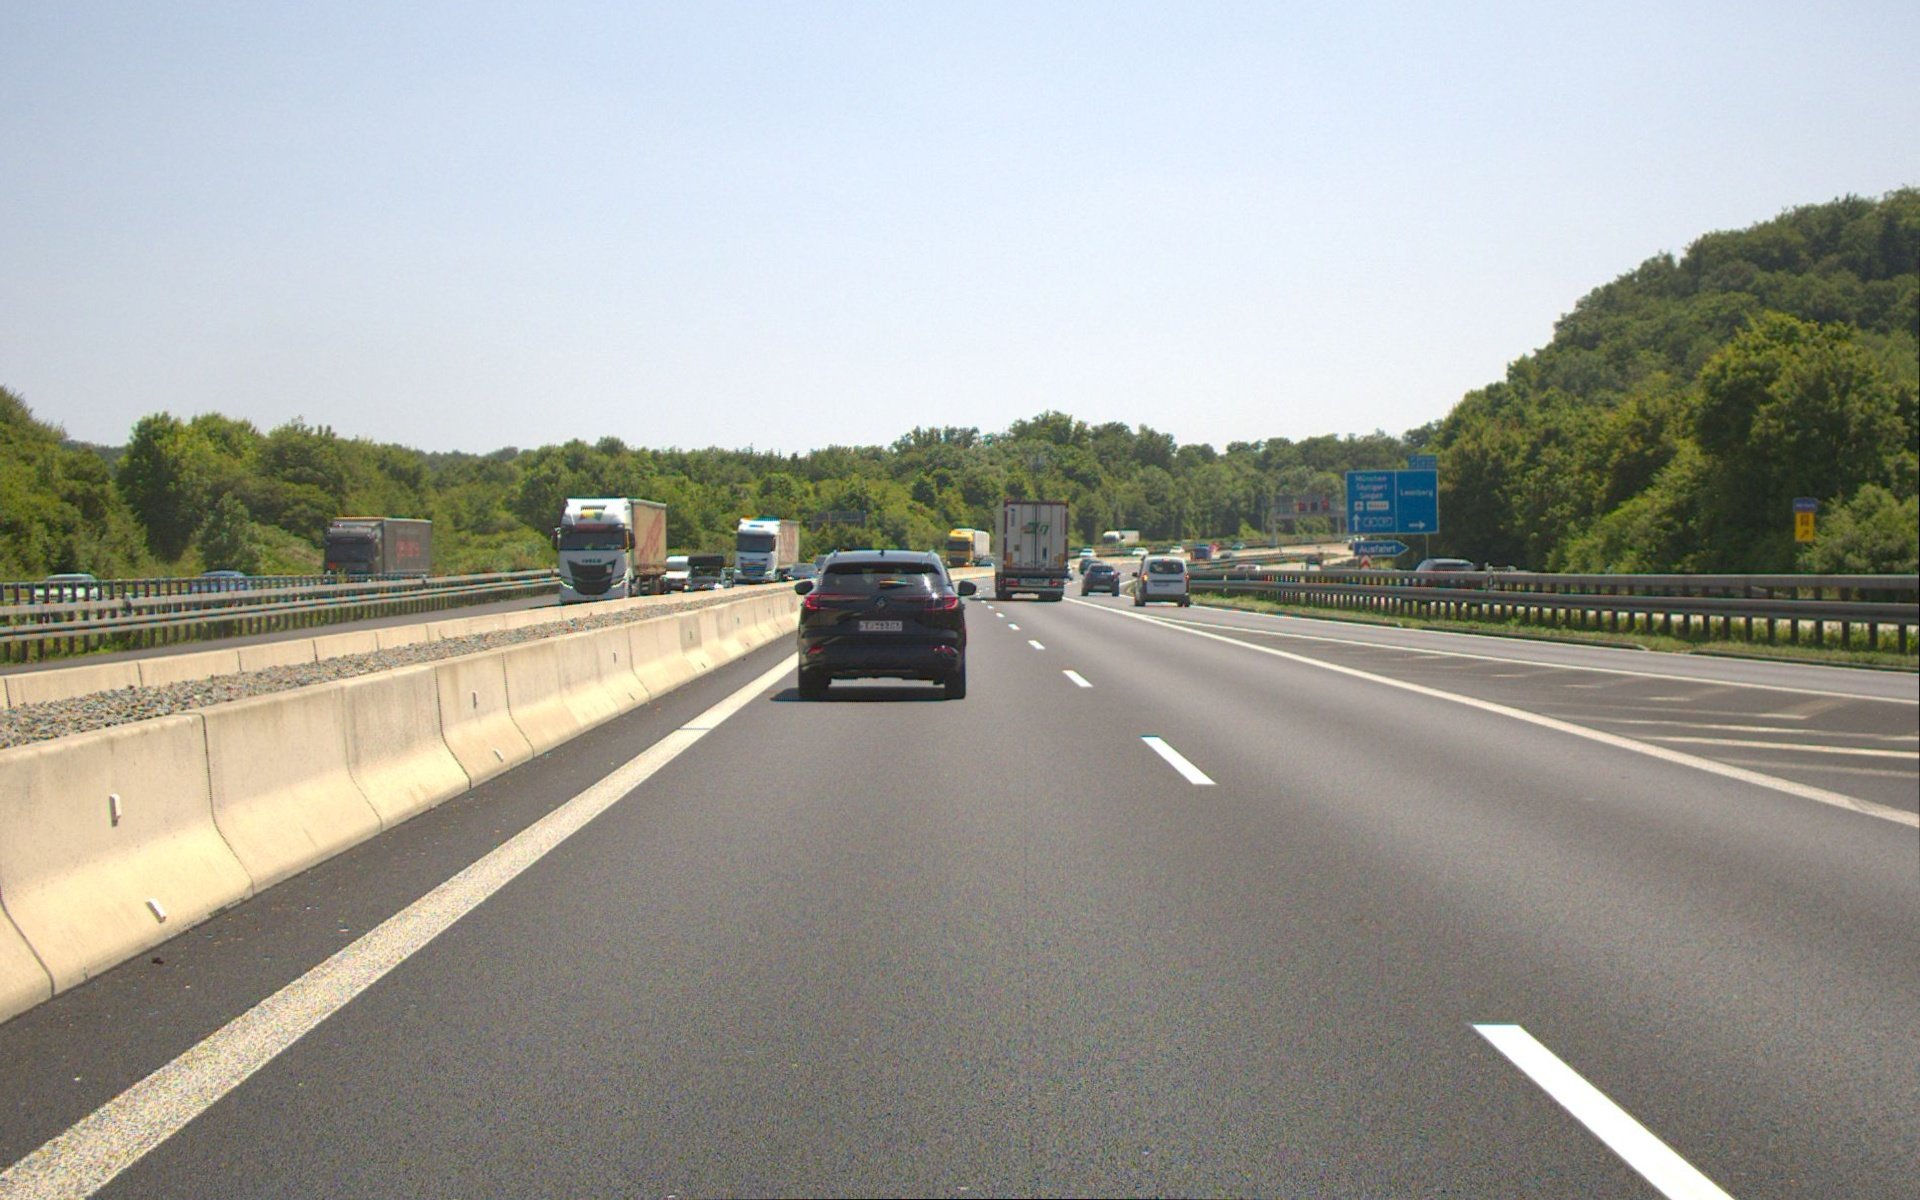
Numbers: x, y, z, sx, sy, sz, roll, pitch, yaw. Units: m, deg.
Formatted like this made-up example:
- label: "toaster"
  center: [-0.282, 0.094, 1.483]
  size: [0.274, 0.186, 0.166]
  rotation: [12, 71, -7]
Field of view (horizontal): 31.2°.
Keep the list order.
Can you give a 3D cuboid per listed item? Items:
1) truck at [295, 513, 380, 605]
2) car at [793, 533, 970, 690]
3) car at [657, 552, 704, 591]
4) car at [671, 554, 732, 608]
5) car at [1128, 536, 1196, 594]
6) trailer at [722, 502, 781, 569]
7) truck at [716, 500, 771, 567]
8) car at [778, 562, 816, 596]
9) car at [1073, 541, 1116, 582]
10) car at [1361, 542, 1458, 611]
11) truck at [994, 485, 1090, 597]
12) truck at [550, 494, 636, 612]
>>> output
- label: "truck"
  center: [-29.653, -1.931, 163.975]
  size: [2.810, 4.258, 4.998]
  rotation: [1, 0, 4]
- label: "car"
  center: [-0.922, 0.109, 38.097]
  size: [1.779, 1.572, 4.000]
  rotation: [3, 0, -3]
- label: "car"
  center: [-13.433, -1.383, 165.336]
  size: [1.742, 1.820, 4.903]
  rotation: [1, 0, 1]
- label: "car"
  center: [-9.880, -0.747, 131.778]
  size: [1.918, 2.007, 5.346]
  rotation: [-1, 1, 0]
- label: "car"
  center: [7.315, -1.274, 124.968]
  size: [1.993, 2.007, 4.000]
  rotation: [-2, 1, -3]
- label: "trailer"
  center: [-13.154, -4.030, 217.715]
  size: [2.910, 4.031, 12.063]
  rotation: [1, 0, 0]
- label: "truck"
  center: [-13.140, -4.024, 208.812]
  size: [2.928, 3.959, 5.898]
  rotation: [1, 0, 0]
- label: "car"
  center: [-9.040, -1.158, 191.383]
  size: [1.983, 1.820, 4.827]
  rotation: [1, 0, -2]
- label: "car"
  center: [6.779, -1.934, 173.429]
  size: [1.993, 2.007, 4.000]
  rotation: [1, 0, 0]
- label: "car"
  center: [13.914, -0.734, 106.649]
  size: [1.993, 2.007, 4.001]
  rotation: [-2, 1, -7]
- label: "truck"
  center: [3.467, -2.360, 142.245]
  size: [3.032, 4.403, 12.016]
  rotation: [1, 0, 5]
- label: "truck"
  center: [-13.632, -1.748, 128.068]
  size: [2.706, 4.273, 4.553]
  rotation: [1, 0, -1]
